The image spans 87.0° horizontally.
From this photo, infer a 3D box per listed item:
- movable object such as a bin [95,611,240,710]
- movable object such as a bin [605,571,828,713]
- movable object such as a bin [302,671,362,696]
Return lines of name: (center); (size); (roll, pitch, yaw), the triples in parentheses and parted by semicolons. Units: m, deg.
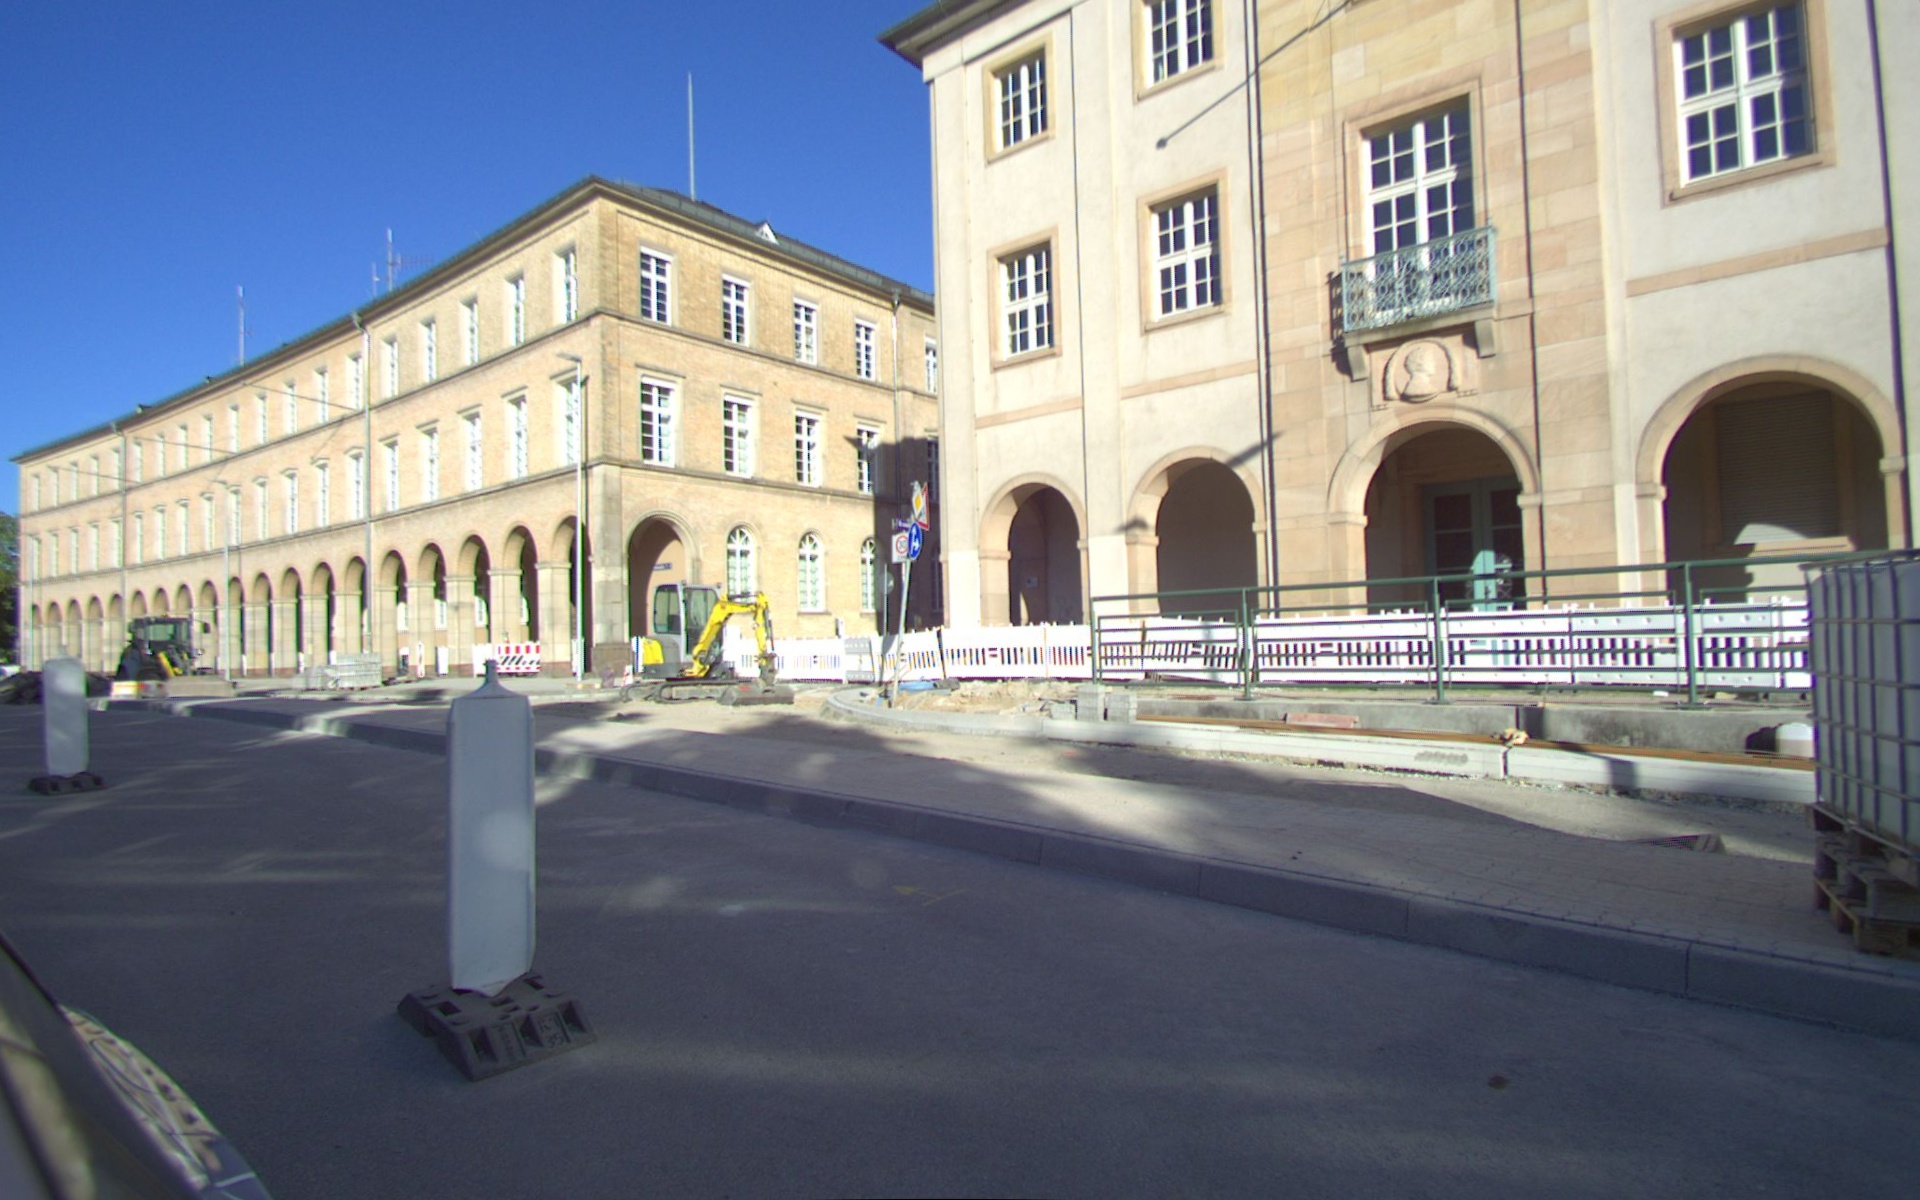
movable object such as a bin: (-21.451, 1.655, 27.354); (4.524, 2.472, 1.775); (-3, -4, 34)
movable object such as a bin: (-4.739, 0.828, 19.429); (4.306, 2.414, 2.077); (-3, -4, 42)
movable object such as a bin: (-19.092, 2.537, 30.781); (1.237, 0.703, 1.177); (-4, -4, 35)
